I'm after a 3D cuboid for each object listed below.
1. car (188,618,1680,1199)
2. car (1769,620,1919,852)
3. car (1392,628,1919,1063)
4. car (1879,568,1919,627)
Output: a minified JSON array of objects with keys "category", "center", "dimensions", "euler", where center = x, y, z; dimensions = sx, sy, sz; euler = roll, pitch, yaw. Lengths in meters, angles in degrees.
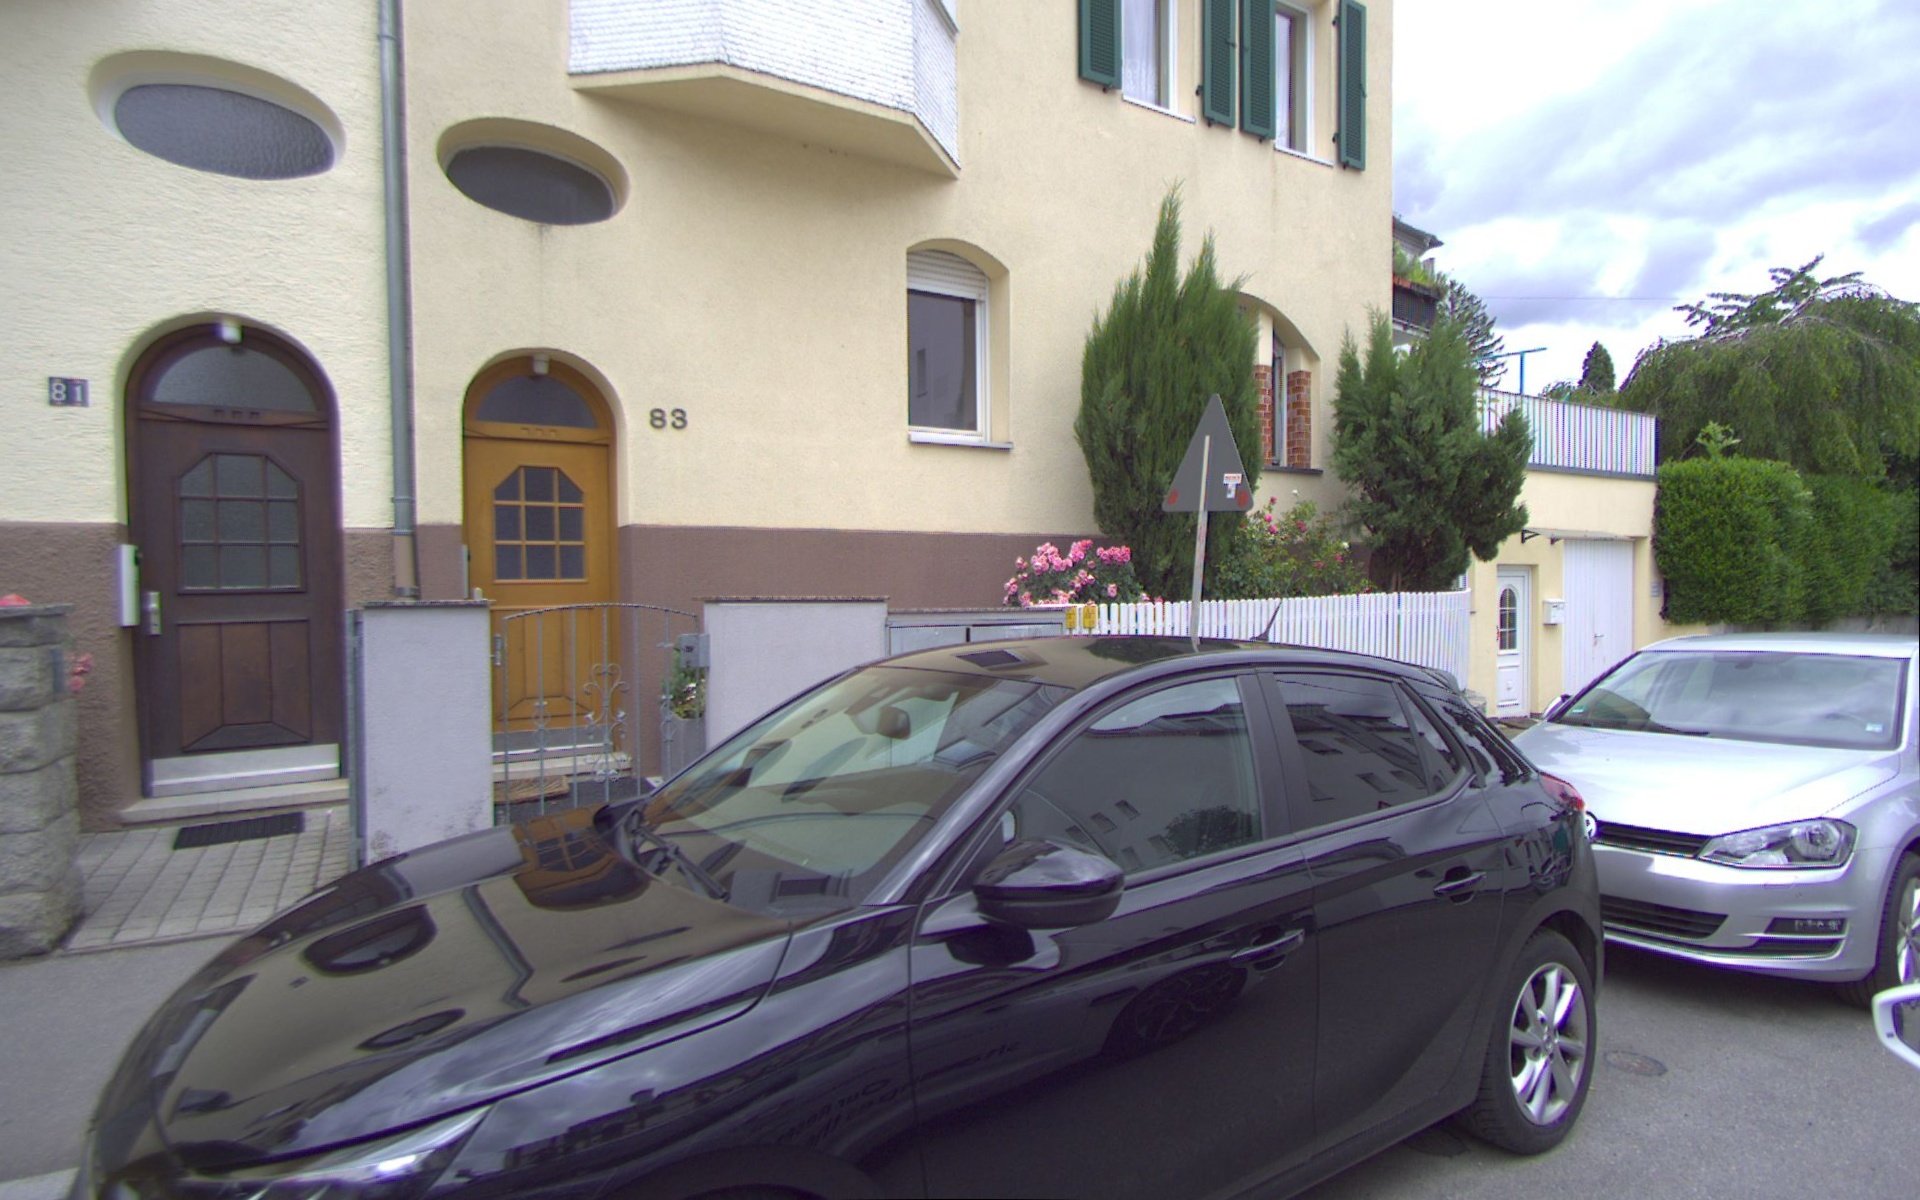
[{"category":"car","center":[0.241,0.796,2.828],"dimensions":[3.662,1.417,1.630],"euler":[1,-2,-32]},{"category":"car","center":[8.144,0.917,7.643],"dimensions":[4.280,1.500,1.793],"euler":[0,0,-32]},{"category":"car","center":[4.202,0.876,5.164],"dimensions":[4.077,1.447,1.630],"euler":[1,-1,-32]},{"category":"car","center":[30.249,-0.029,29.497],"dimensions":[4.423,1.678,1.835],"euler":[1,3,11]}]
